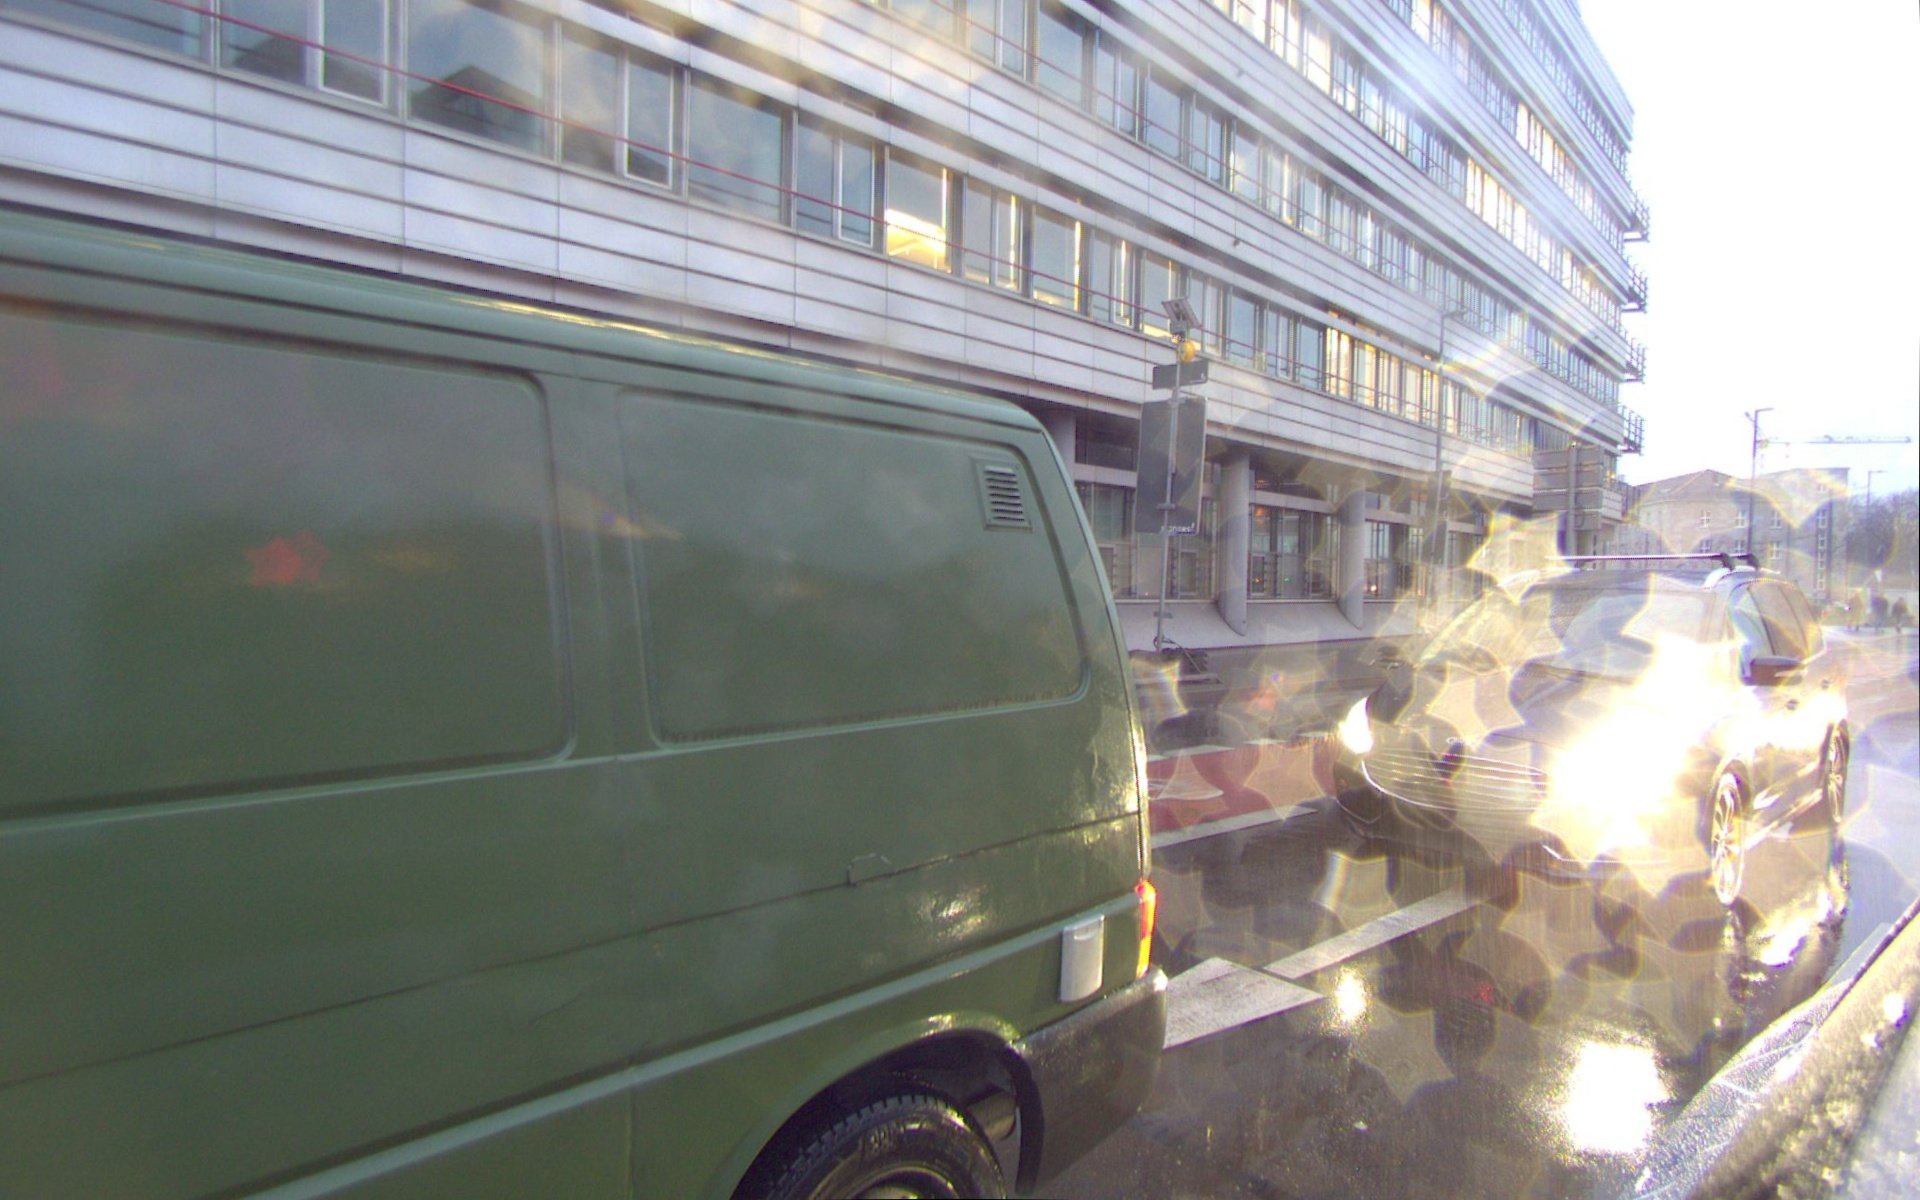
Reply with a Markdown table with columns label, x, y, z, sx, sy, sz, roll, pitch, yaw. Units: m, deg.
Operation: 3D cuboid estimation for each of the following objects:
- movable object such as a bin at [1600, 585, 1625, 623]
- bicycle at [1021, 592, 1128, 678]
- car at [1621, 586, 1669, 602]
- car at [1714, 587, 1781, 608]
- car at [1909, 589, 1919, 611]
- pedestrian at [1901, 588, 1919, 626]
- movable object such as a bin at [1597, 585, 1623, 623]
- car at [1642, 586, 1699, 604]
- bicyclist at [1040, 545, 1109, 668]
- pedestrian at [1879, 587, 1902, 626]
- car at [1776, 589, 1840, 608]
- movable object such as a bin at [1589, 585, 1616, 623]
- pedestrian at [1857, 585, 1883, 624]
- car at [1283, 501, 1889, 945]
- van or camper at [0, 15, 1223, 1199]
| label | x | y | z | sx | sy | sz | roll | pitch | yaw |
| --- | --- | --- | --- | --- | --- | --- | --- | --- | --- |
| movable object such as a bin | 26.082 | 0.158 | 40.459 | 0.826 | 1.495 | 0.665 | 0 | 1 | -44 |
| bicycle | 1.783 | 0.499 | 15.555 | 1.732 | 1.213 | 0.680 | 0 | 3 | -45 |
| car | 76.113 | -0.652 | 112.462 | 1.863 | 1.675 | 4.038 | 1 | 1 | -24 |
| car | 71.082 | -0.237 | 91.402 | 1.958 | 1.782 | 4.386 | 0 | 1 | -24 |
| car | 76.605 | 0.053 | 78.562 | 1.743 | 1.730 | 3.932 | 0 | 1 | -26 |
| pedestrian | 42.846 | 0.311 | 45.552 | 0.870 | 1.689 | 0.615 | 0 | 3 | -44 |
| movable object such as a bin | 25.507 | 0.160 | 39.725 | 0.826 | 1.446 | 0.665 | 0 | 1 | -44 |
| car | 68.630 | -0.477 | 97.838 | 1.958 | 1.693 | 4.013 | 0 | 1 | -24 |
| bicyclist | 1.762 | 0.079 | 15.521 | 0.793 | 1.820 | 0.670 | 0 | 2 | -45 |
| pedestrian | 42.281 | 0.281 | 45.997 | 0.870 | 1.723 | 0.650 | 0 | 3 | -44 |
| car | 72.898 | -0.135 | 87.028 | 1.743 | 1.556 | 3.775 | 1 | 1 | -24 |
| movable object such as a bin | 24.848 | 0.144 | 39.141 | 0.826 | 1.446 | 0.665 | 0 | 1 | -44 |
| pedestrian | 42.273 | 0.189 | 47.019 | 0.953 | 1.722 | 0.746 | 0 | 4 | -44 |
| car | 4.162 | 0.498 | 6.377 | 4.587 | 1.834 | 1.887 | 0 | 0 | -39 |
| van or camper | -1.671 | 0.454 | 1.305 | 4.341 | 1.931 | 1.760 | 0 | 0 | -41 |
